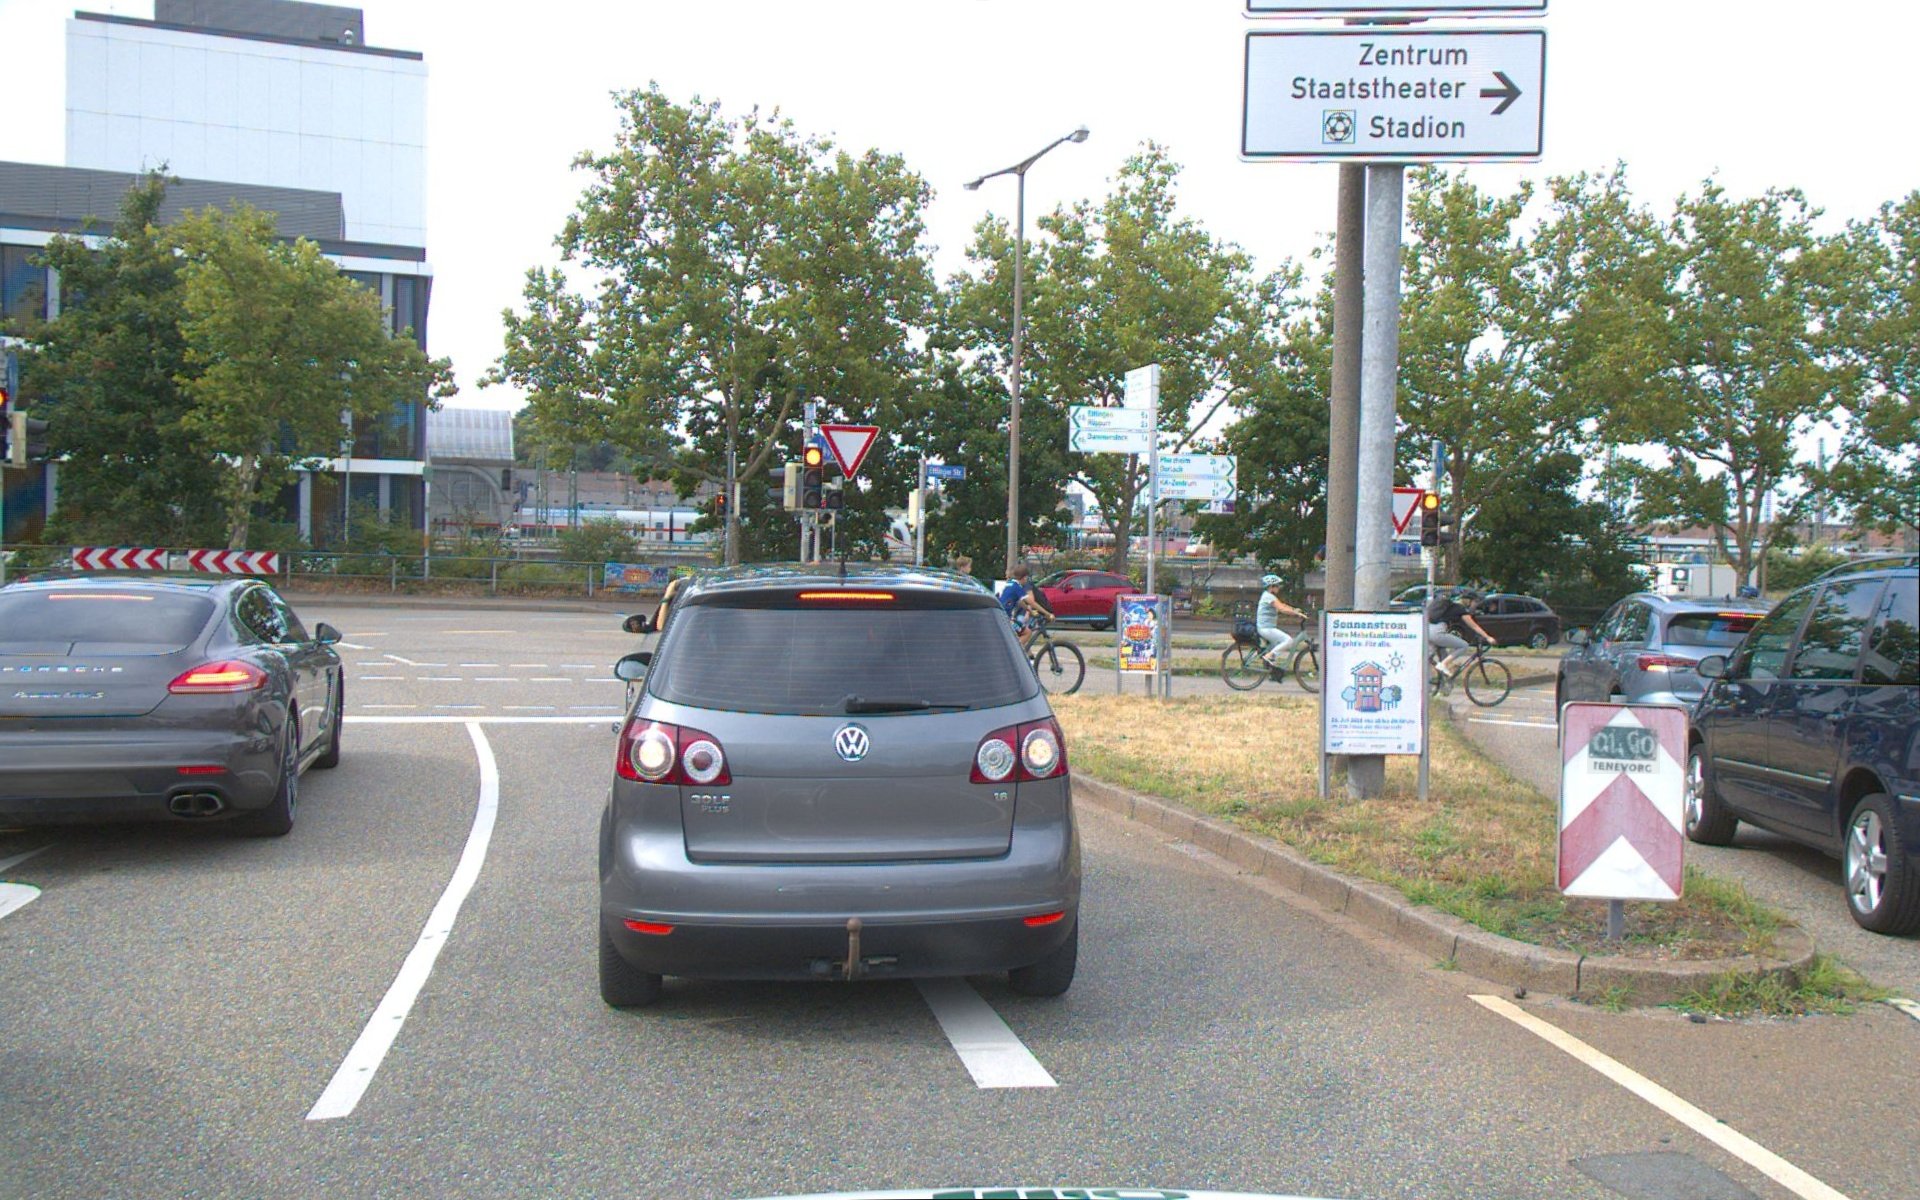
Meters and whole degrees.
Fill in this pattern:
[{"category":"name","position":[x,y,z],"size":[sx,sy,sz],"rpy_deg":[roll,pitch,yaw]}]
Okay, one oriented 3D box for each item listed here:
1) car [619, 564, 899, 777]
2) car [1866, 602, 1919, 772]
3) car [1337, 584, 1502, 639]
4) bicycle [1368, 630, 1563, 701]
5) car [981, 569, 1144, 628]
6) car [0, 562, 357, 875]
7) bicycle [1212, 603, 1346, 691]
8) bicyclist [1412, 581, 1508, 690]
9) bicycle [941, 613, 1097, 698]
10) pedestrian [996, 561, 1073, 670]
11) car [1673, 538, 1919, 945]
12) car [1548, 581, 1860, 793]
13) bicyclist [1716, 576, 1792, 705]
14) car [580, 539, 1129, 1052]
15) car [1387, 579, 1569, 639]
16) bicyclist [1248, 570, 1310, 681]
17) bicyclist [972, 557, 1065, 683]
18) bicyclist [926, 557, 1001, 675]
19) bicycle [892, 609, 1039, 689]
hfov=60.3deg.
[{"category":"car","position":[-1.833,0.481,13.912],"size":[1.713,1.508,4.064],"rpy_deg":[1,1,-16]},{"category":"car","position":[10.193,0.897,15.469],"size":[1.713,1.671,4.141],"rpy_deg":[3,0,10]},{"category":"car","position":[13.012,0.318,46.875],"size":[4.260,1.473,1.753],"rpy_deg":[1,1,-18]},{"category":"bicycle","position":[7.032,0.911,23.024],"size":[2.535,0.905,0.703],"rpy_deg":[1,1,-9]},{"category":"car","position":[2.660,-0.042,42.978],"size":[3.894,1.473,1.692],"rpy_deg":[1,1,-21]},{"category":"car","position":[-4.845,0.519,10.114],"size":[1.789,1.438,4.756],"rpy_deg":[1,1,-16]},{"category":"bicycle","position":[4.720,0.687,24.539],"size":[1.861,1.231,0.643],"rpy_deg":[1,1,2]},{"category":"bicyclist","position":[6.942,0.486,22.994],"size":[1.093,1.461,0.647],"rpy_deg":[1,1,-8]},{"category":"bicycle","position":[0.745,0.701,20.963],"size":[1.871,1.031,0.625],"rpy_deg":[1,1,-18]},{"category":"pedestrian","position":[1.212,0.244,27.099],"size":[1.029,1.740,0.851],"rpy_deg":[2,1,-13]},{"category":"car","position":[5.266,0.653,8.685],"size":[1.713,1.754,4.141],"rpy_deg":[3,0,9]},{"category":"car","position":[6.738,0.703,15.444],"size":[1.655,1.613,4.160],"rpy_deg":[3,0,11]},{"category":"bicyclist","position":[10.637,0.523,22.187],"size":[0.863,1.685,0.811],"rpy_deg":[1,1,23]},{"category":"car","position":[-0.605,0.587,7.213],"size":[1.709,1.573,4.074],"rpy_deg":[1,1,-9]},{"category":"car","position":[13.409,0.241,42.851],"size":[4.260,1.473,1.753],"rpy_deg":[1,1,-18]},{"category":"bicyclist","position":[4.724,0.362,24.524],"size":[0.763,1.608,0.655],"rpy_deg":[1,1,2]},{"category":"bicyclist","position":[0.738,0.247,20.936],"size":[1.000,1.566,0.625],"rpy_deg":[1,1,-17]},{"category":"bicyclist","position":[0.040,0.213,22.230],"size":[0.825,1.556,0.625],"rpy_deg":[1,1,-19]},{"category":"bicycle","position":[0.070,0.653,22.255],"size":[1.872,1.031,0.625],"rpy_deg":[1,1,-19]}]
